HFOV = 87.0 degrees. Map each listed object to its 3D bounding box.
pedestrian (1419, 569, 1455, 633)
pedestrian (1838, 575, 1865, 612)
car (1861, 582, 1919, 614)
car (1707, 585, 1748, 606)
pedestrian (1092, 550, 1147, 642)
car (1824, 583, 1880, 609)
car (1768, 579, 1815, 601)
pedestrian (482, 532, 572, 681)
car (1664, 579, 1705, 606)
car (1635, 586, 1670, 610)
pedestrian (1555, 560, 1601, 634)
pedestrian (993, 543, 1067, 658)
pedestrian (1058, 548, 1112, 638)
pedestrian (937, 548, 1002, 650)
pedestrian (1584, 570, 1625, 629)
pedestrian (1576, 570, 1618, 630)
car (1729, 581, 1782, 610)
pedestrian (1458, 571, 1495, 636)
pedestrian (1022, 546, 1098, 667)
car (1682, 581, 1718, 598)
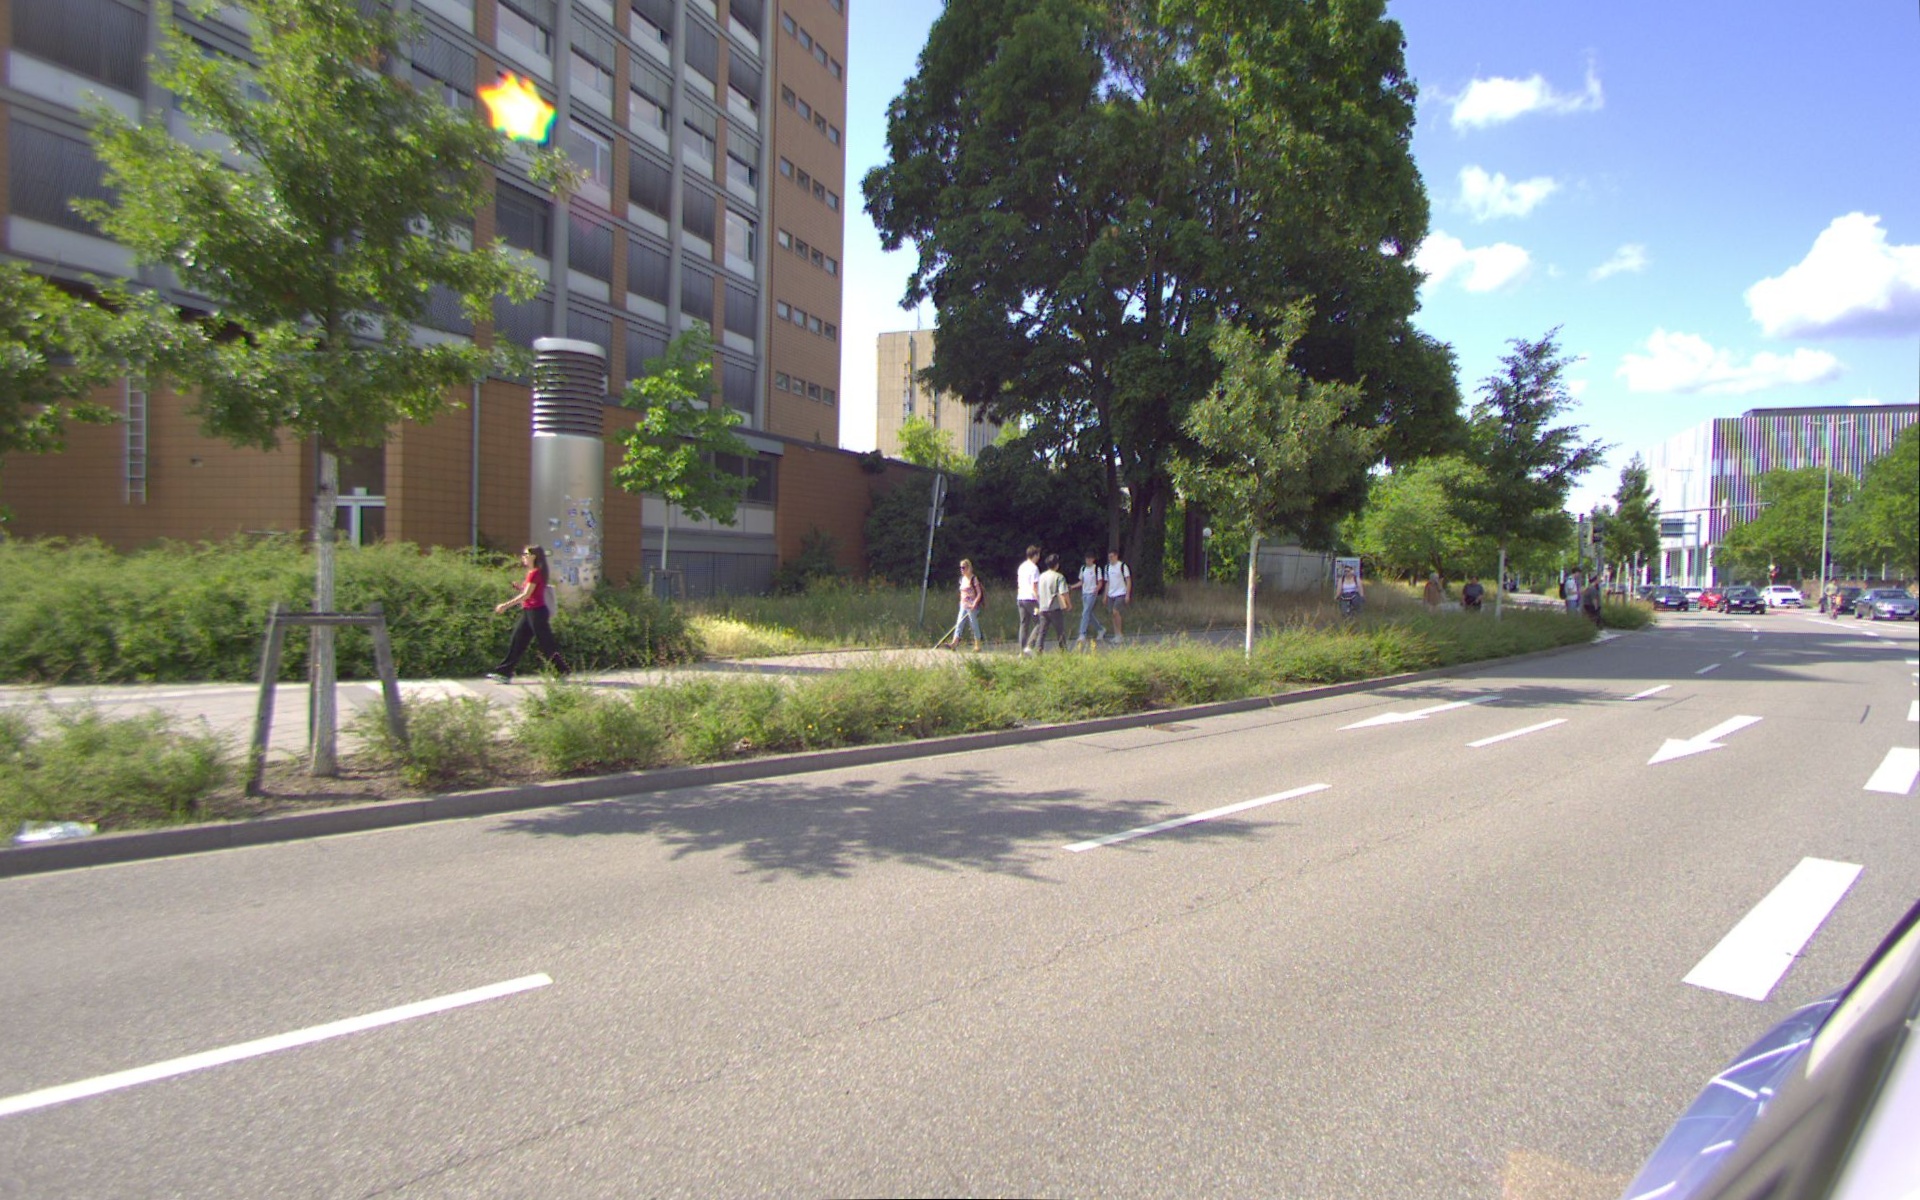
[{"bbox_3d":[13.195,0.017,27.988,0.765,1.756,0.709,0,1,40],"label":"pedestrian"},{"bbox_3d":[41.593,-0.316,47.238,0.731,1.736,0.868,0,1,25],"label":"pedestrian"},{"bbox_3d":[43.305,-0.106,46.185,1.978,1.393,4.237,0,1,23],"label":"car"},{"bbox_3d":[46.711,-0.293,61.668,1.586,1.148,3.590,2,2,31],"label":"car"},{"bbox_3d":[3.089,-0.095,19.588,0.614,1.720,0.876,5,5,42],"label":"pedestrian"},{"bbox_3d":[48.004,-0.244,54.517,1.721,1.351,3.744,0,1,33],"label":"car"},{"bbox_3d":[55.109,-0.691,67.144,1.764,1.371,3.959,0,1,30],"label":"car"},{"bbox_3d":[-5.005,0.059,11.691,0.872,1.641,0.617,0,4,-31],"label":"pedestrian"},{"bbox_3d":[42.194,-0.458,58.994,1.815,1.481,3.951,1,2,35],"label":"car"},{"bbox_3d":[45.680,-0.138,66.719,1.815,1.481,3.950,1,2,35],"label":"car"},{"bbox_3d":[17.430,-0.099,28.541,0.756,2.039,0.963,-1,1,-44],"label":"pedestrian"},{"bbox_3d":[1.130,-0.013,16.319,0.742,1.767,0.876,5,5,42],"label":"pedestrian"},{"bbox_3d":[2.474,-0.154,20.006,0.614,1.720,0.876,5,5,42],"label":"pedestrian"},{"bbox_3d":[0.168,-0.036,17.028,0.614,1.641,0.876,5,5,42],"label":"pedestrian"},{"bbox_3d":[19.711,-0.027,30.946,0.756,1.756,0.926,-1,1,-44],"label":"pedestrian"},{"bbox_3d":[19.156,-0.004,30.421,0.756,1.756,0.926,-1,1,-44],"label":"pedestrian"},{"bbox_3d":[43.010,-0.250,54.796,1.813,1.481,3.954,1,2,33],"label":"car"},{"bbox_3d":[14.147,0.080,27.729,0.765,1.756,0.709,0,1,40],"label":"pedestrian"},{"bbox_3d":[1.551,0.077,15.696,0.742,1.775,0.876,5,5,42],"label":"pedestrian"},{"bbox_3d":[51.087,-0.747,69.928,1.898,1.148,4.050,2,2,36],"label":"car"}]
